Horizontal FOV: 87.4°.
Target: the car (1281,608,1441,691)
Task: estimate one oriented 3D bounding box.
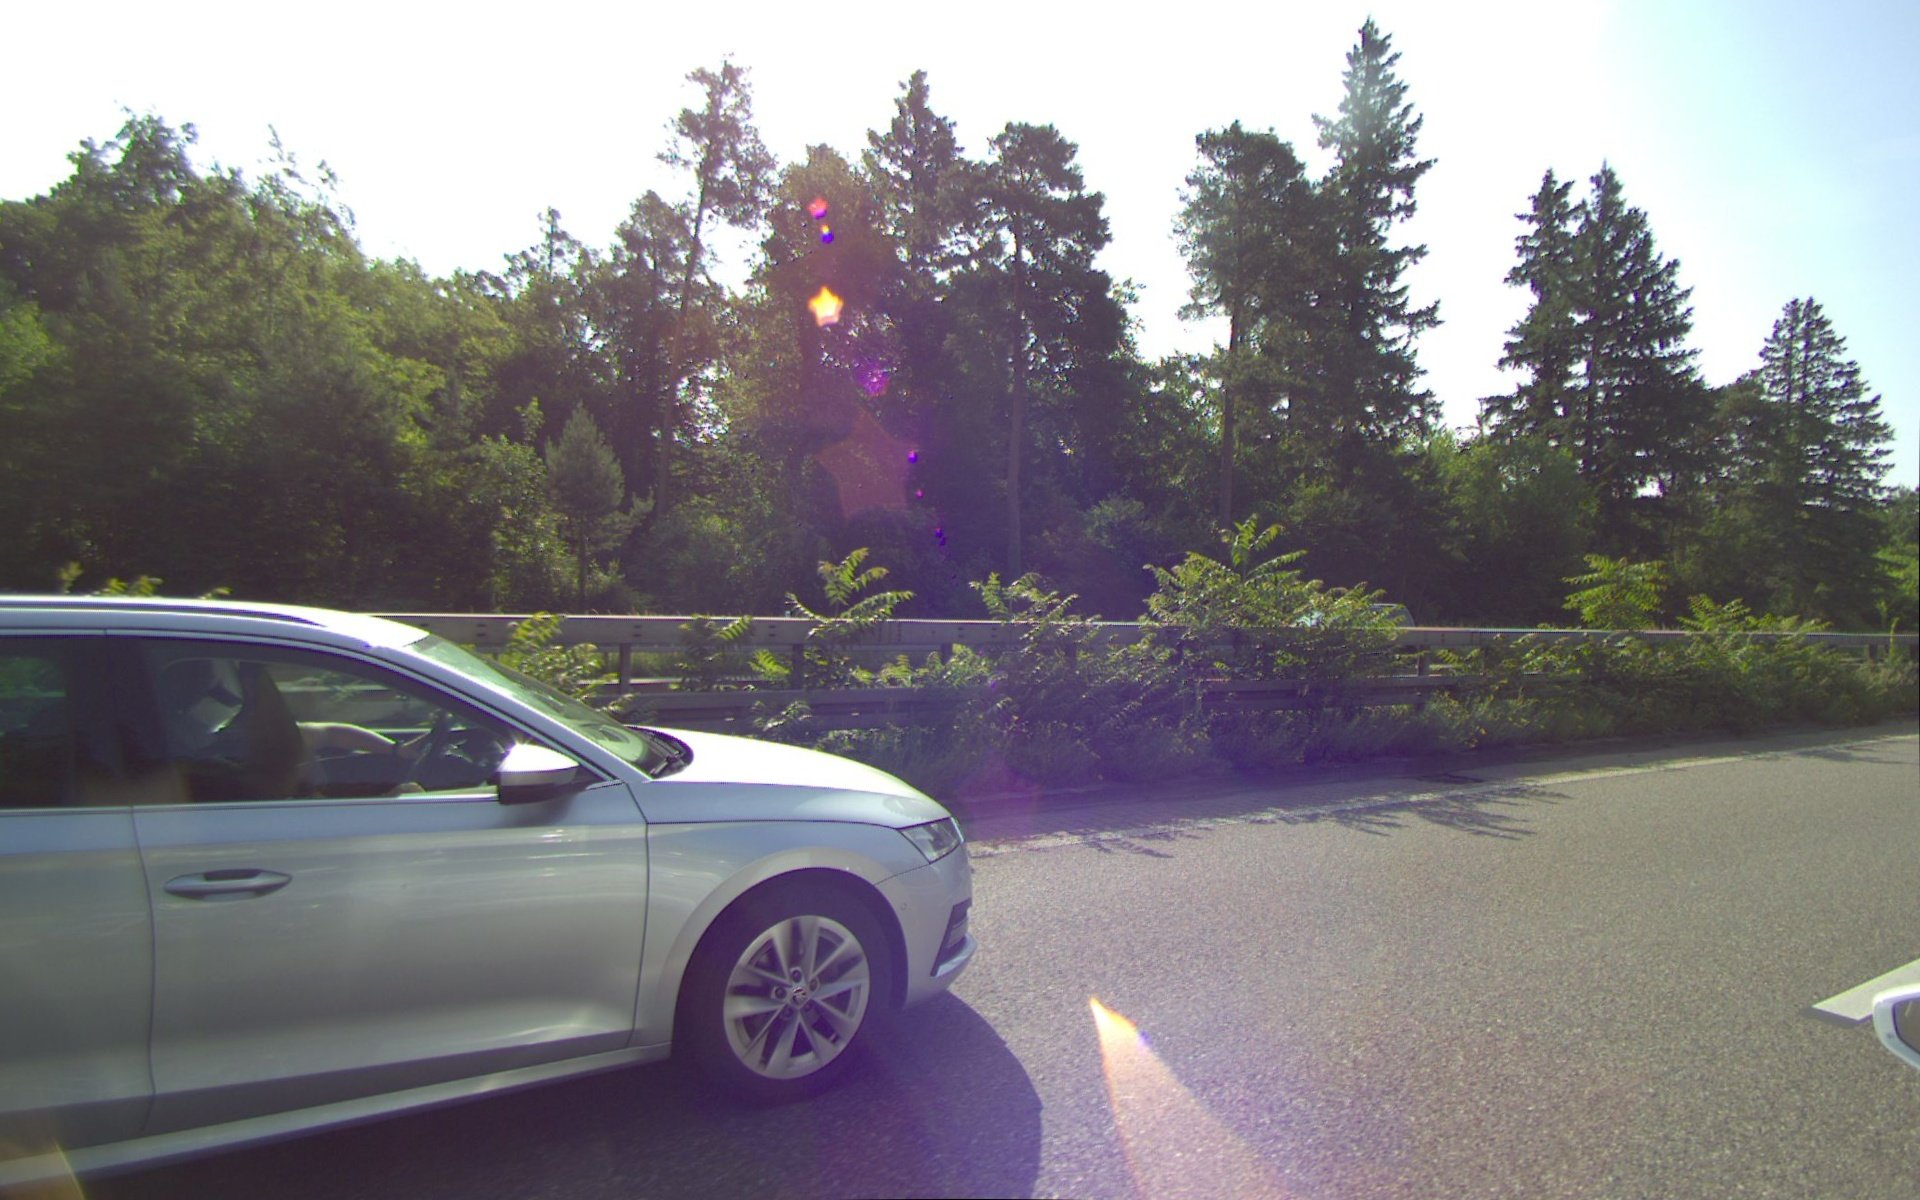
[{"bbox_3d":[9.084,1.078,22.716,3.467,1.713,1.641,1,0,-32],"label":"car"}]

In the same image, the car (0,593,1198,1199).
[{"bbox_3d":[-1.811,0.734,3.153,5.216,1.457,1.784,1,-1,-31],"label":"car"}]
